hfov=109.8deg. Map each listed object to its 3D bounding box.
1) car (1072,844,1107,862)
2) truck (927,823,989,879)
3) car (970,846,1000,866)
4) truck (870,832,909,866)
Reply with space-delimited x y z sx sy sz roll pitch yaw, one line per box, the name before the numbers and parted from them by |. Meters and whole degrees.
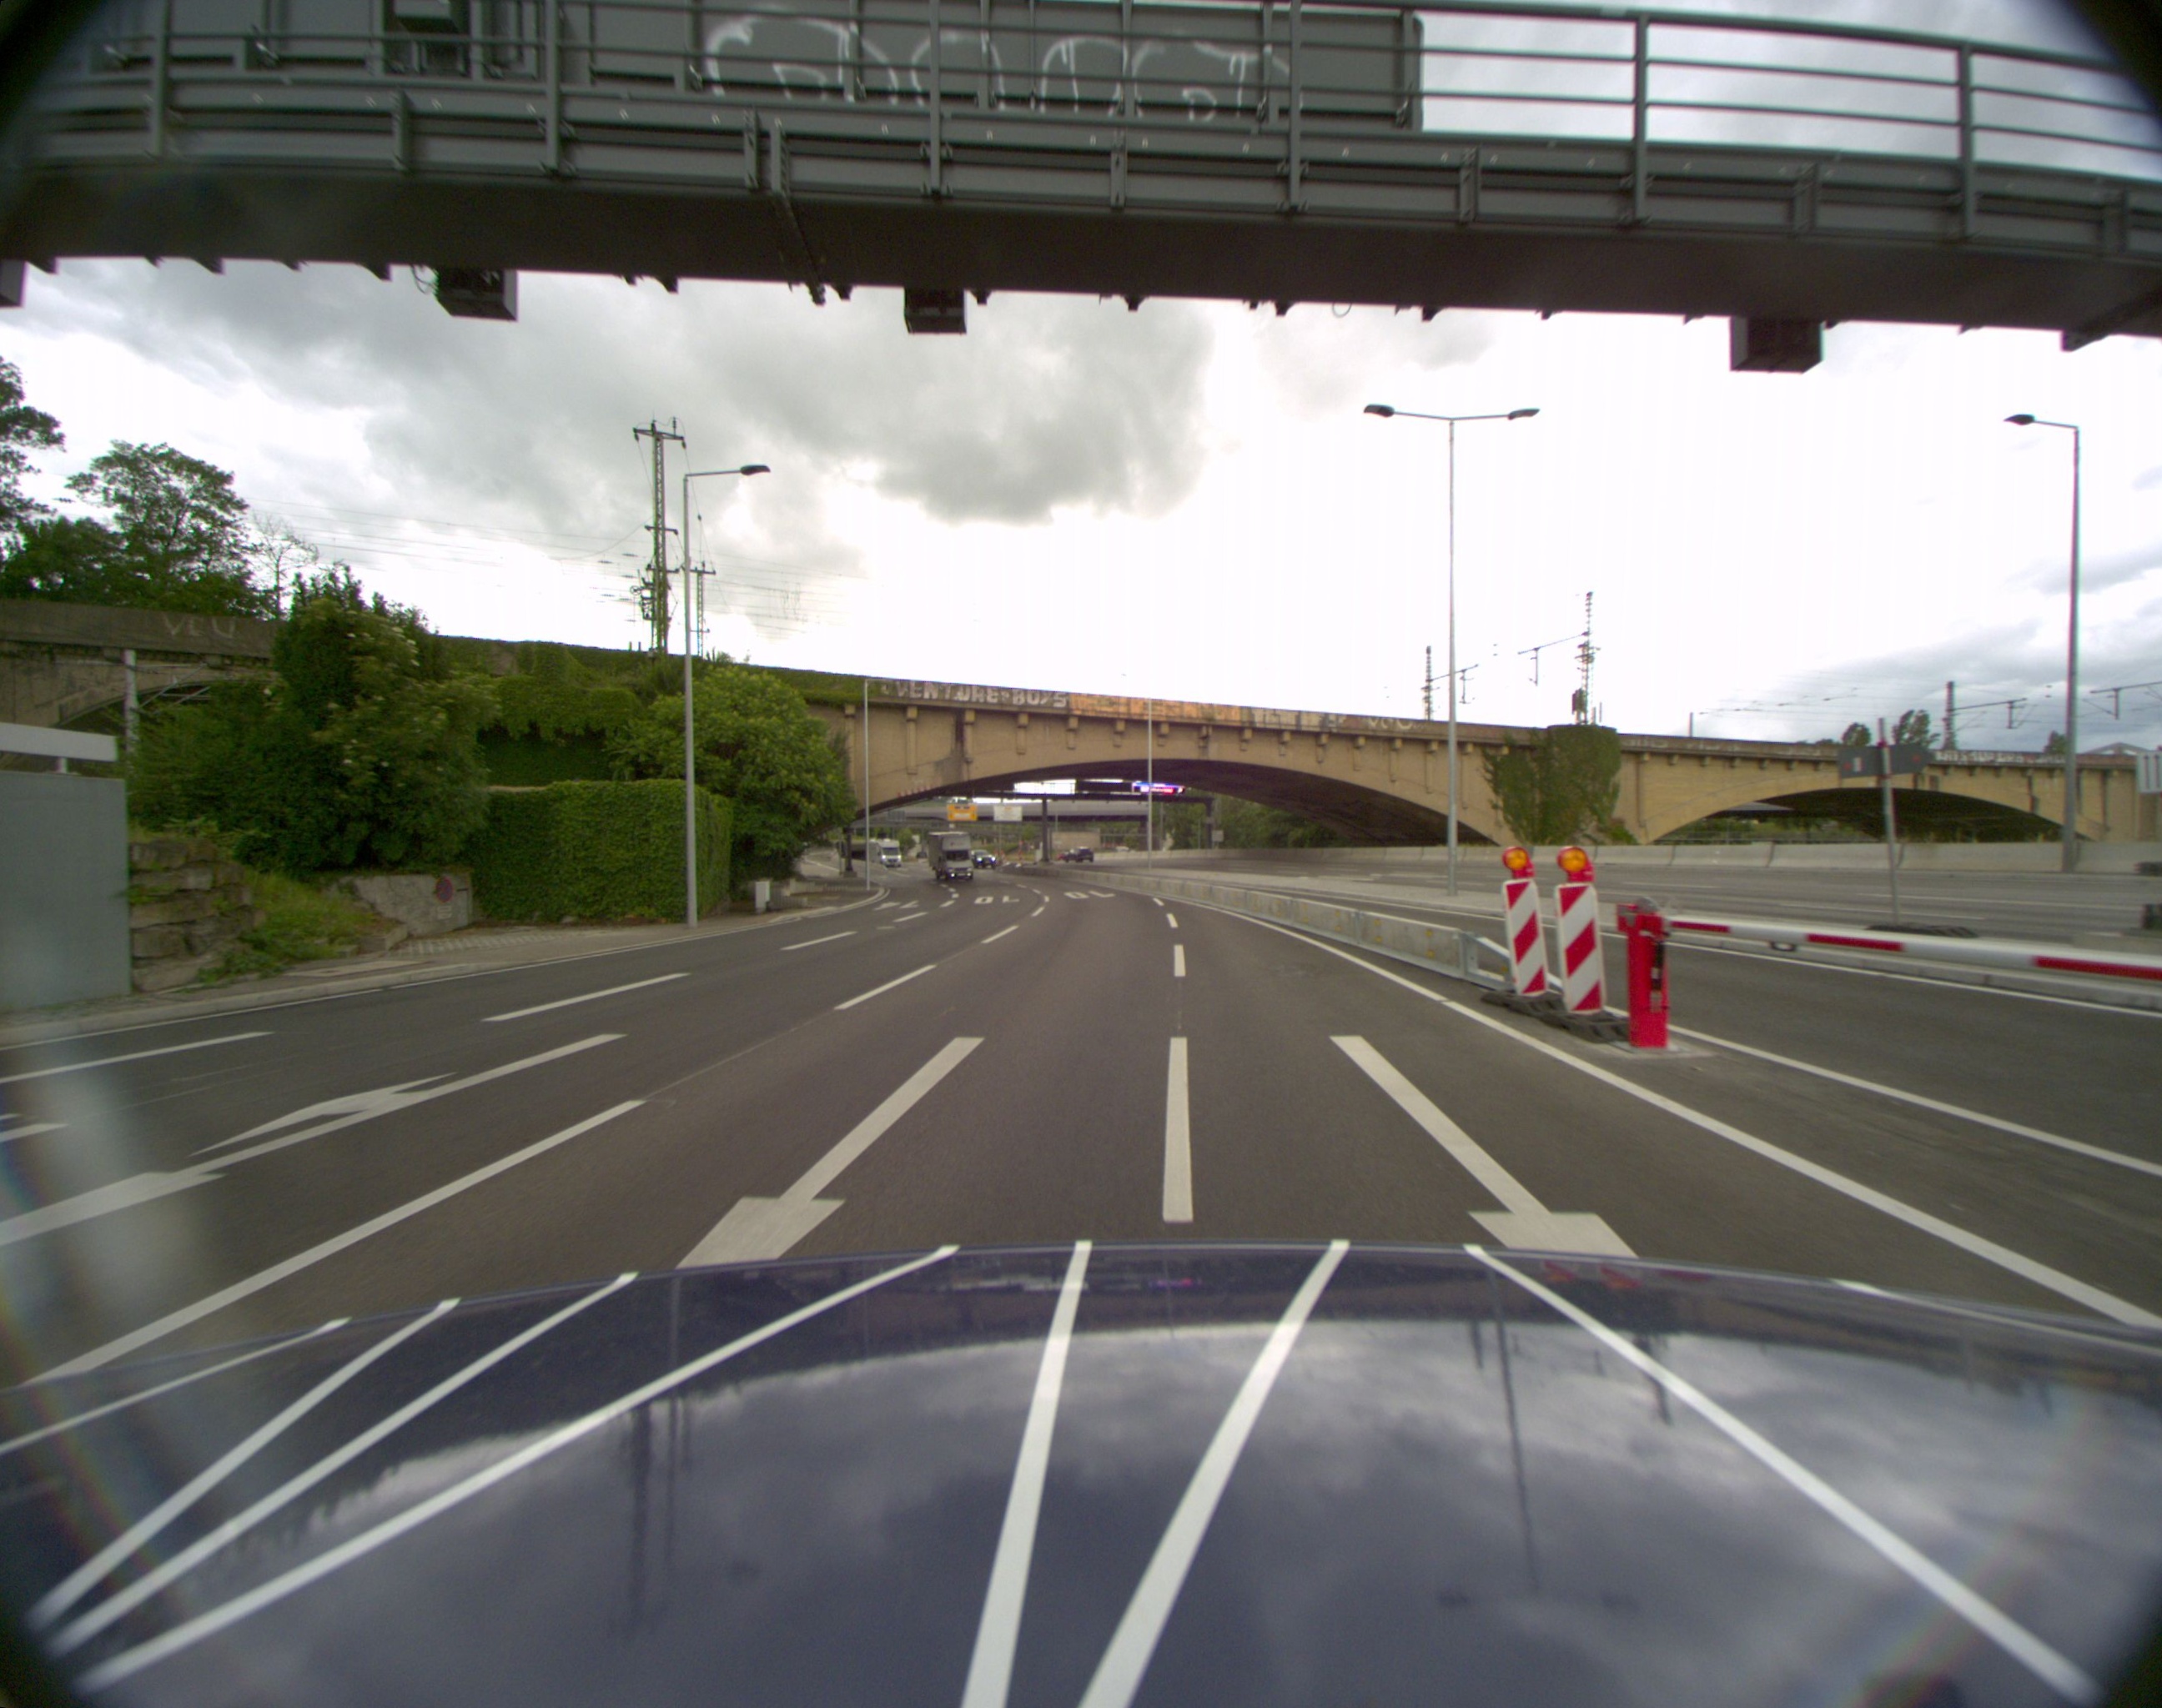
car | 0.791 -0.108 75.069 2.002 1.575 4.129 -3 0 -22
truck | -9.141 -0.228 55.503 3.036 3.567 8.937 -5 2 -17
car | -9.313 0.154 73.496 1.871 1.827 4.198 -2 1 -20
truck | -21.185 -0.531 83.614 2.578 3.548 9.096 -2 1 -23
